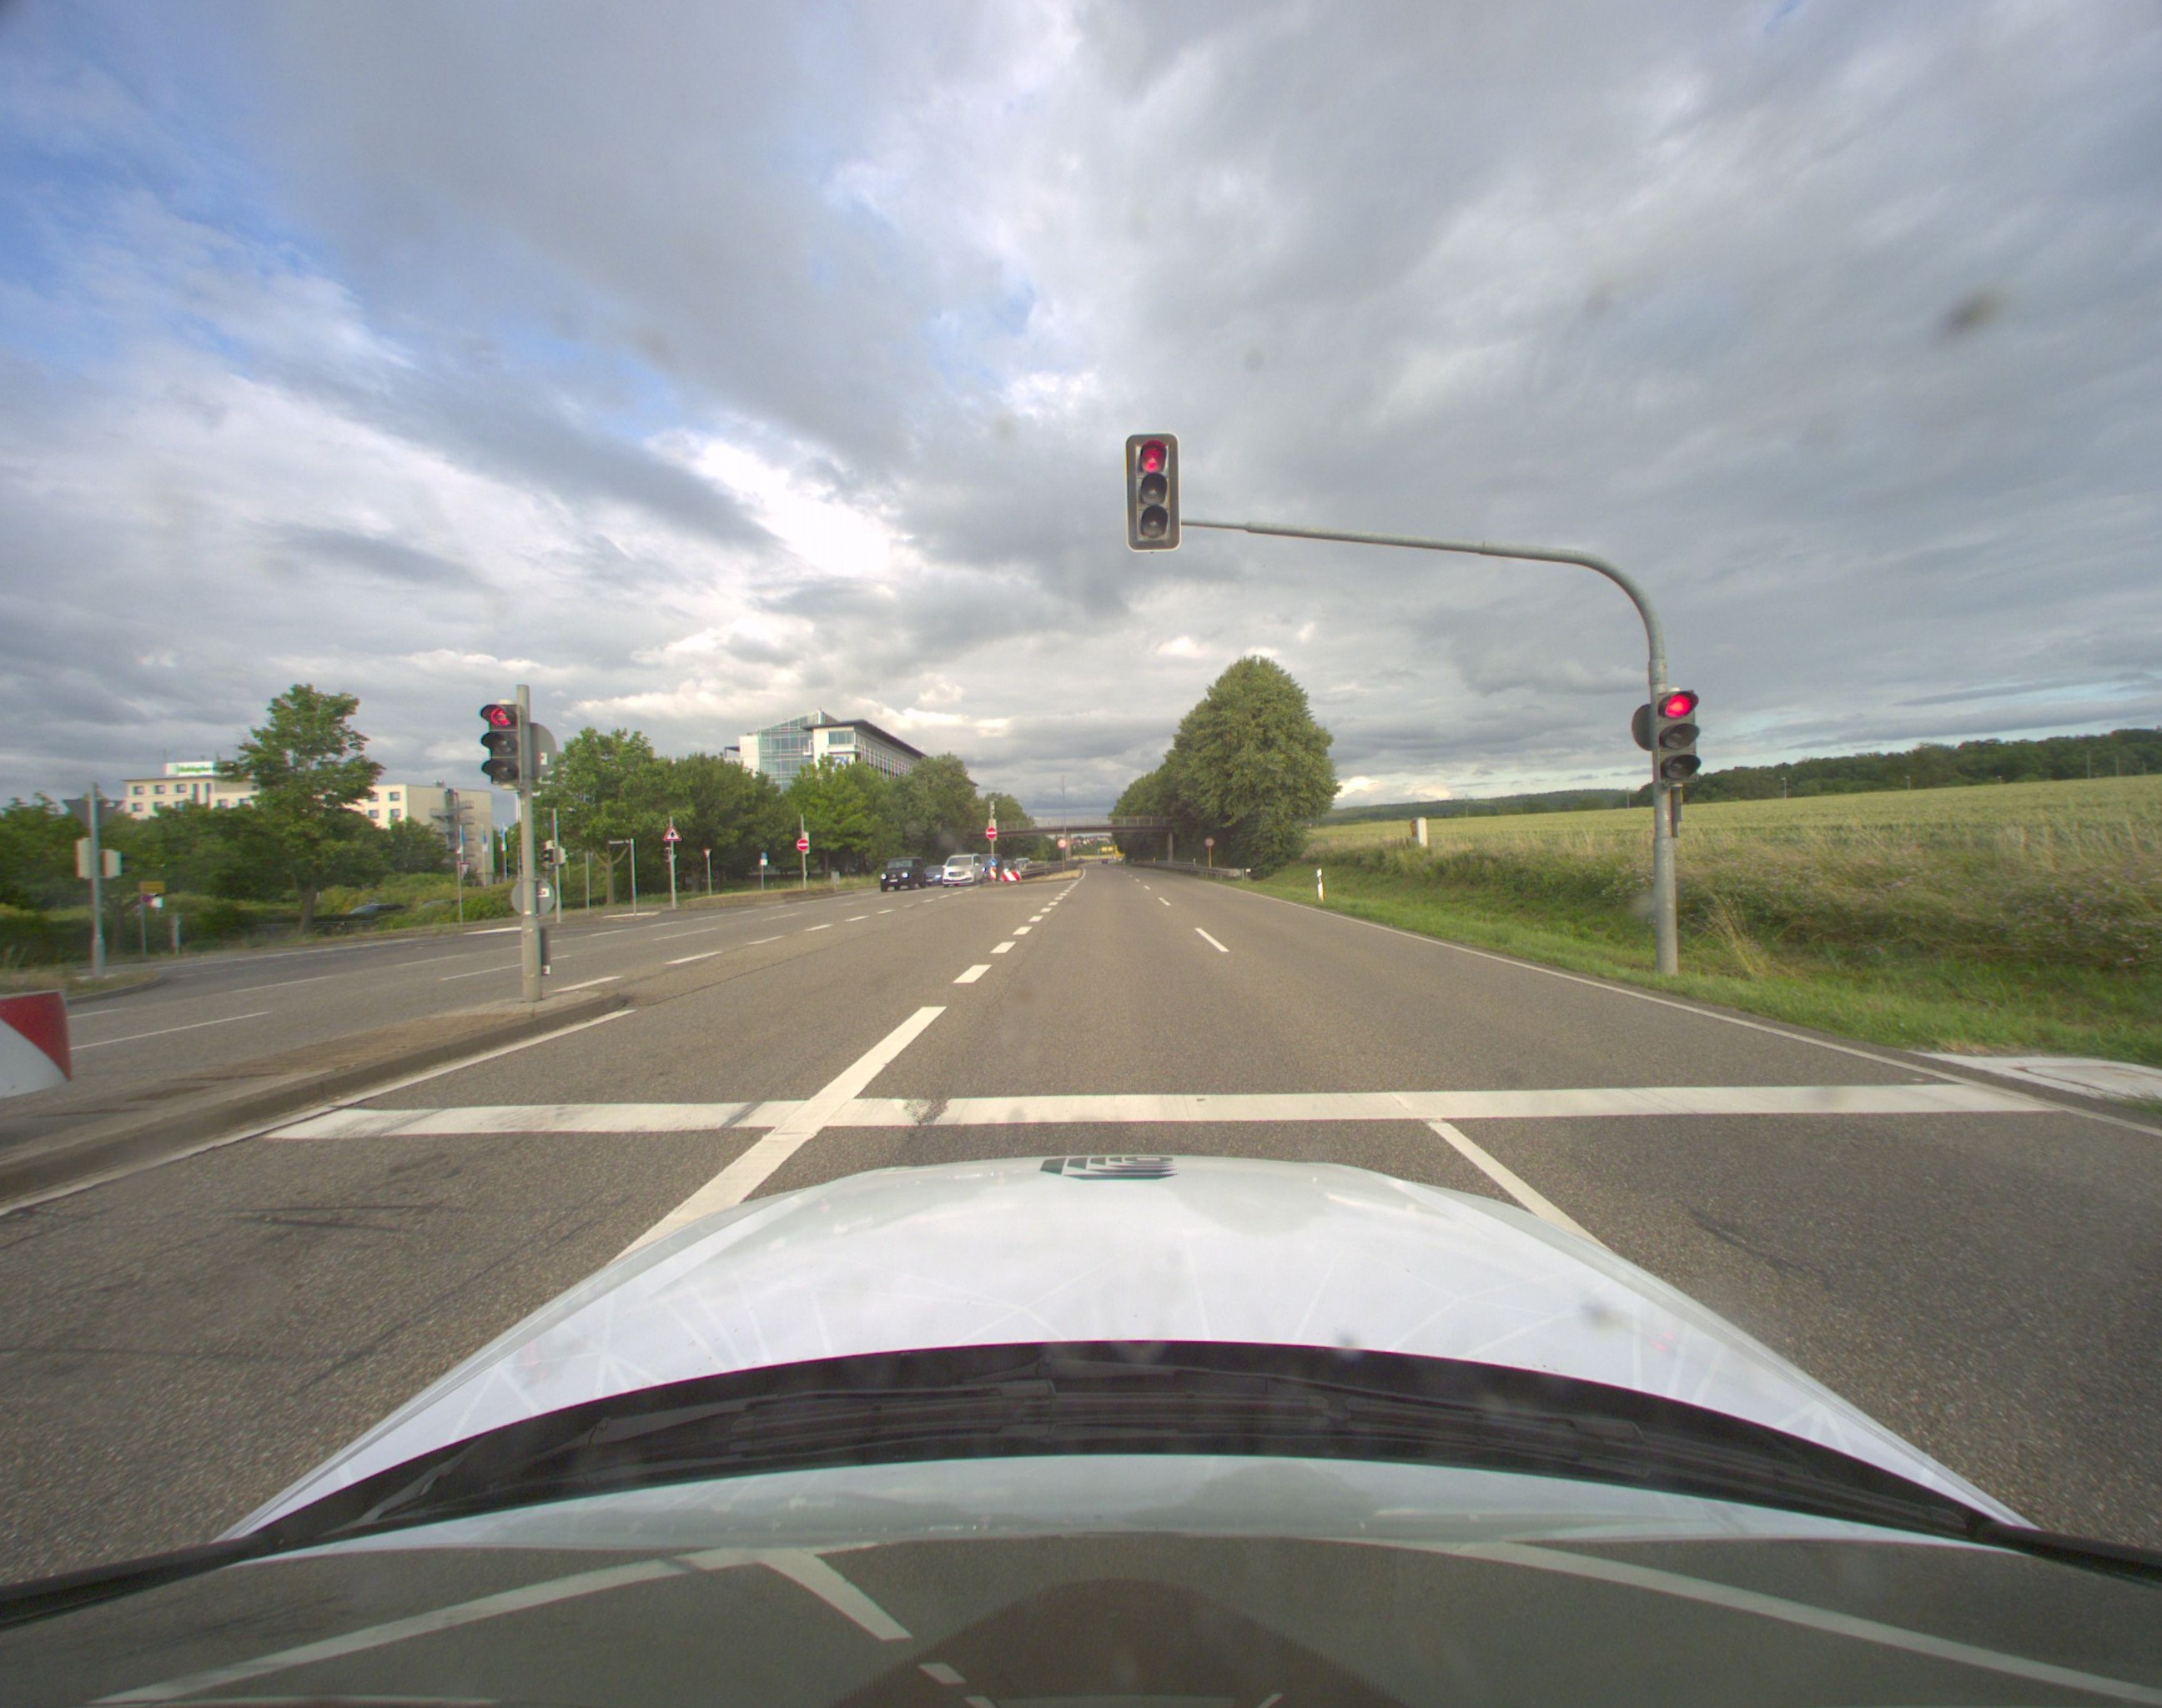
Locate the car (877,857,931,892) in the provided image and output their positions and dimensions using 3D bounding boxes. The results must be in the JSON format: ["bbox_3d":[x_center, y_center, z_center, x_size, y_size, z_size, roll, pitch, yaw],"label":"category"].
[{"bbox_3d":[-10.723,1.192,49.669,2.076,2.014,5.216,0,-1,1],"label":"car"}]

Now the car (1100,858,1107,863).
[{"bbox_3d":[6.841,2.091,246.562,1.875,1.552,3.996,0,-1,-3],"label":"car"}]

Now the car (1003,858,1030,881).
[{"bbox_3d":[-5.999,1.409,75.964,2.076,2.014,5.216,0,-1,1],"label":"car"}]

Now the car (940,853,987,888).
[{"bbox_3d":[-7.103,0.969,49.695,2.076,2.014,5.216,0,-1,1],"label":"car"}]

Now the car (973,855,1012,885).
[{"bbox_3d":[-6.185,1.077,57.413,2.076,2.014,5.216,0,-1,1],"label":"car"}]

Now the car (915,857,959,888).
[{"bbox_3d":[-10.026,1.256,57.157,2.076,2.014,5.216,0,-1,1],"label":"car"}]

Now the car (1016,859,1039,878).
[{"bbox_3d":[-5.634,1.500,86.358,2.076,2.014,5.216,0,-1,1],"label":"car"}]
